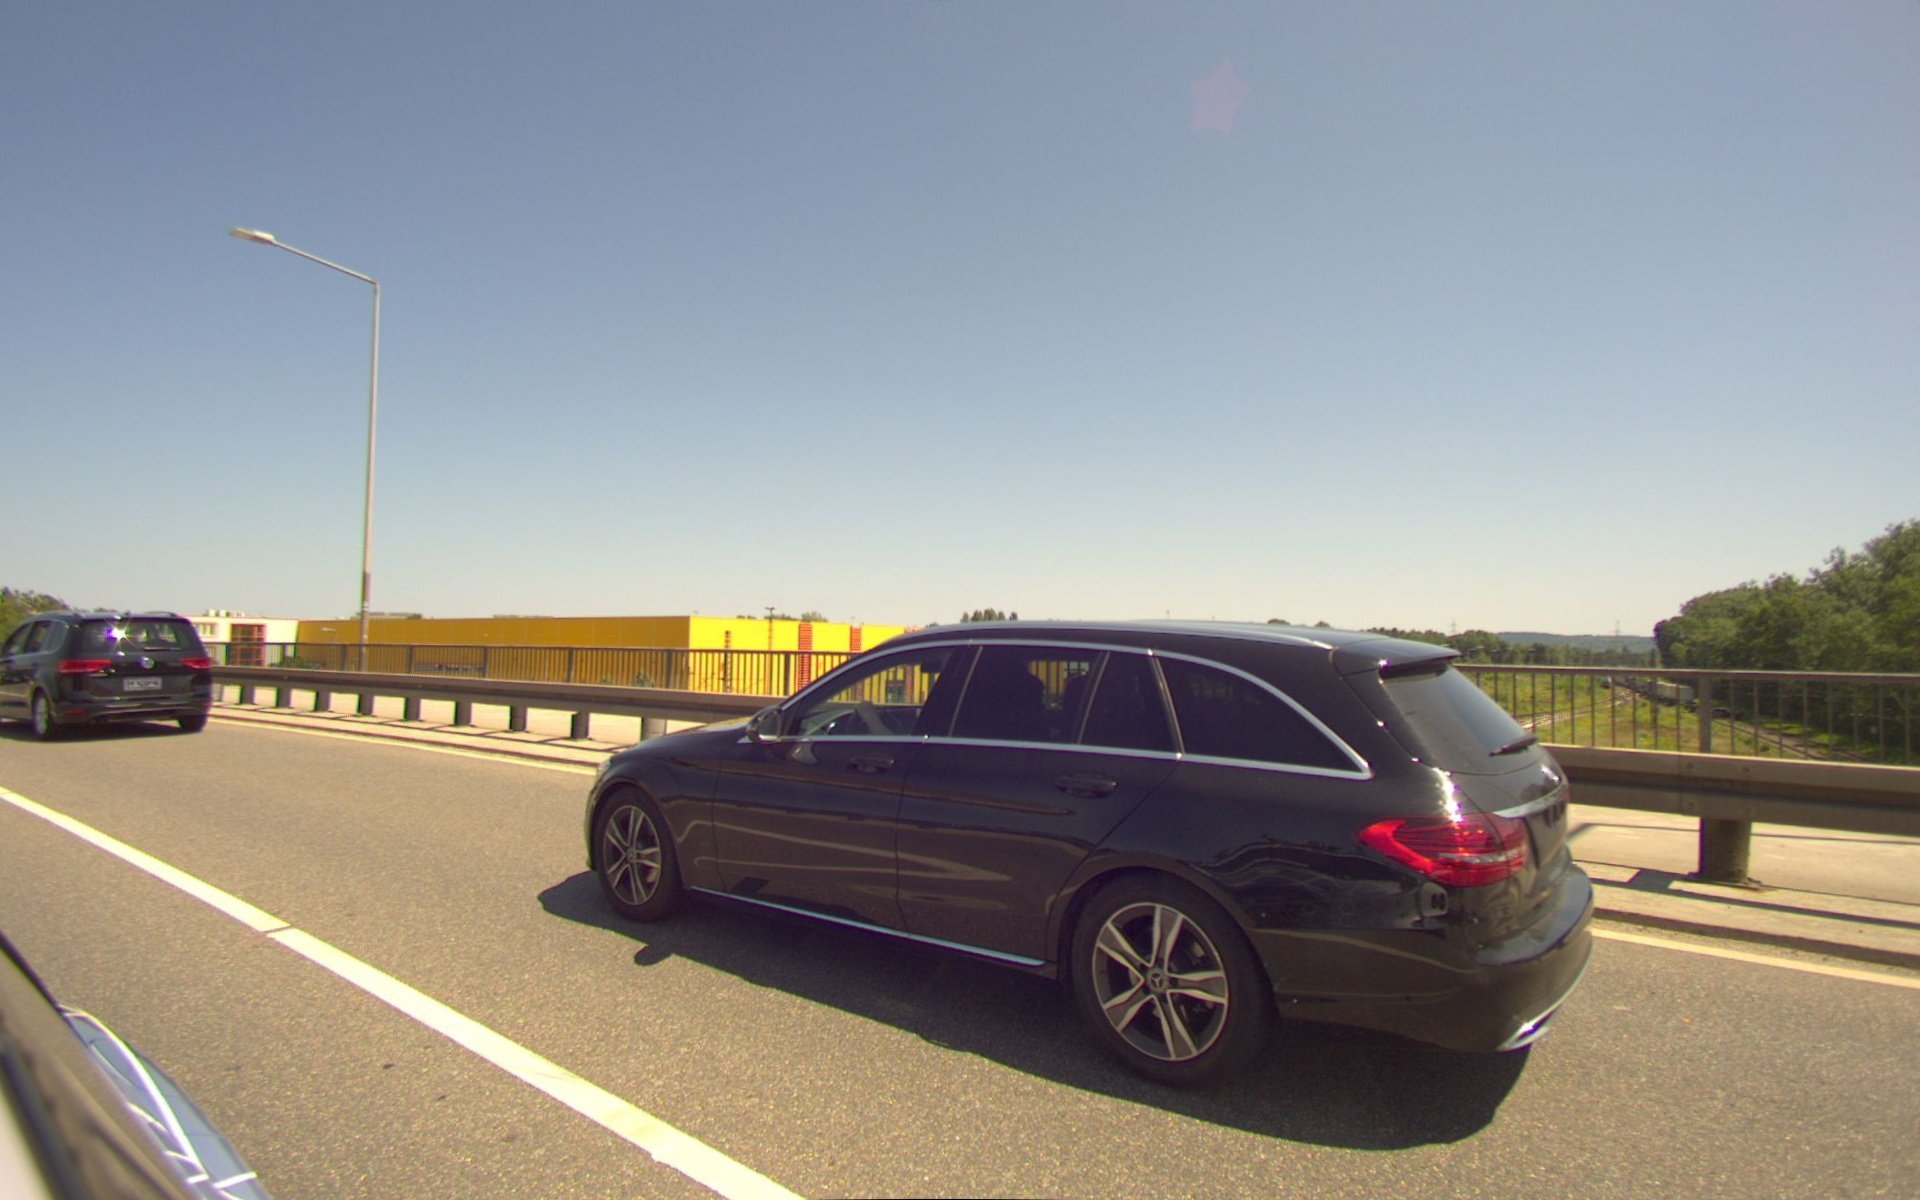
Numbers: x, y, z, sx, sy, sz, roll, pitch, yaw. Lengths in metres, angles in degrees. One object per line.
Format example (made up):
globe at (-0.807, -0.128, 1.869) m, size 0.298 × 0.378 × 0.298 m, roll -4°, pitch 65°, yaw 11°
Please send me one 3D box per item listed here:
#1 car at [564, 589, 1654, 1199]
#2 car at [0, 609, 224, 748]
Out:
car at (0.265, 0.762, 4.378) m, size 4.387 × 1.450 × 1.755 m, roll -2°, pitch -2°, yaw 39°
car at (-12.099, 0.985, 13.873) m, size 4.238 × 1.638 × 1.759 m, roll -1°, pitch -2°, yaw 31°
